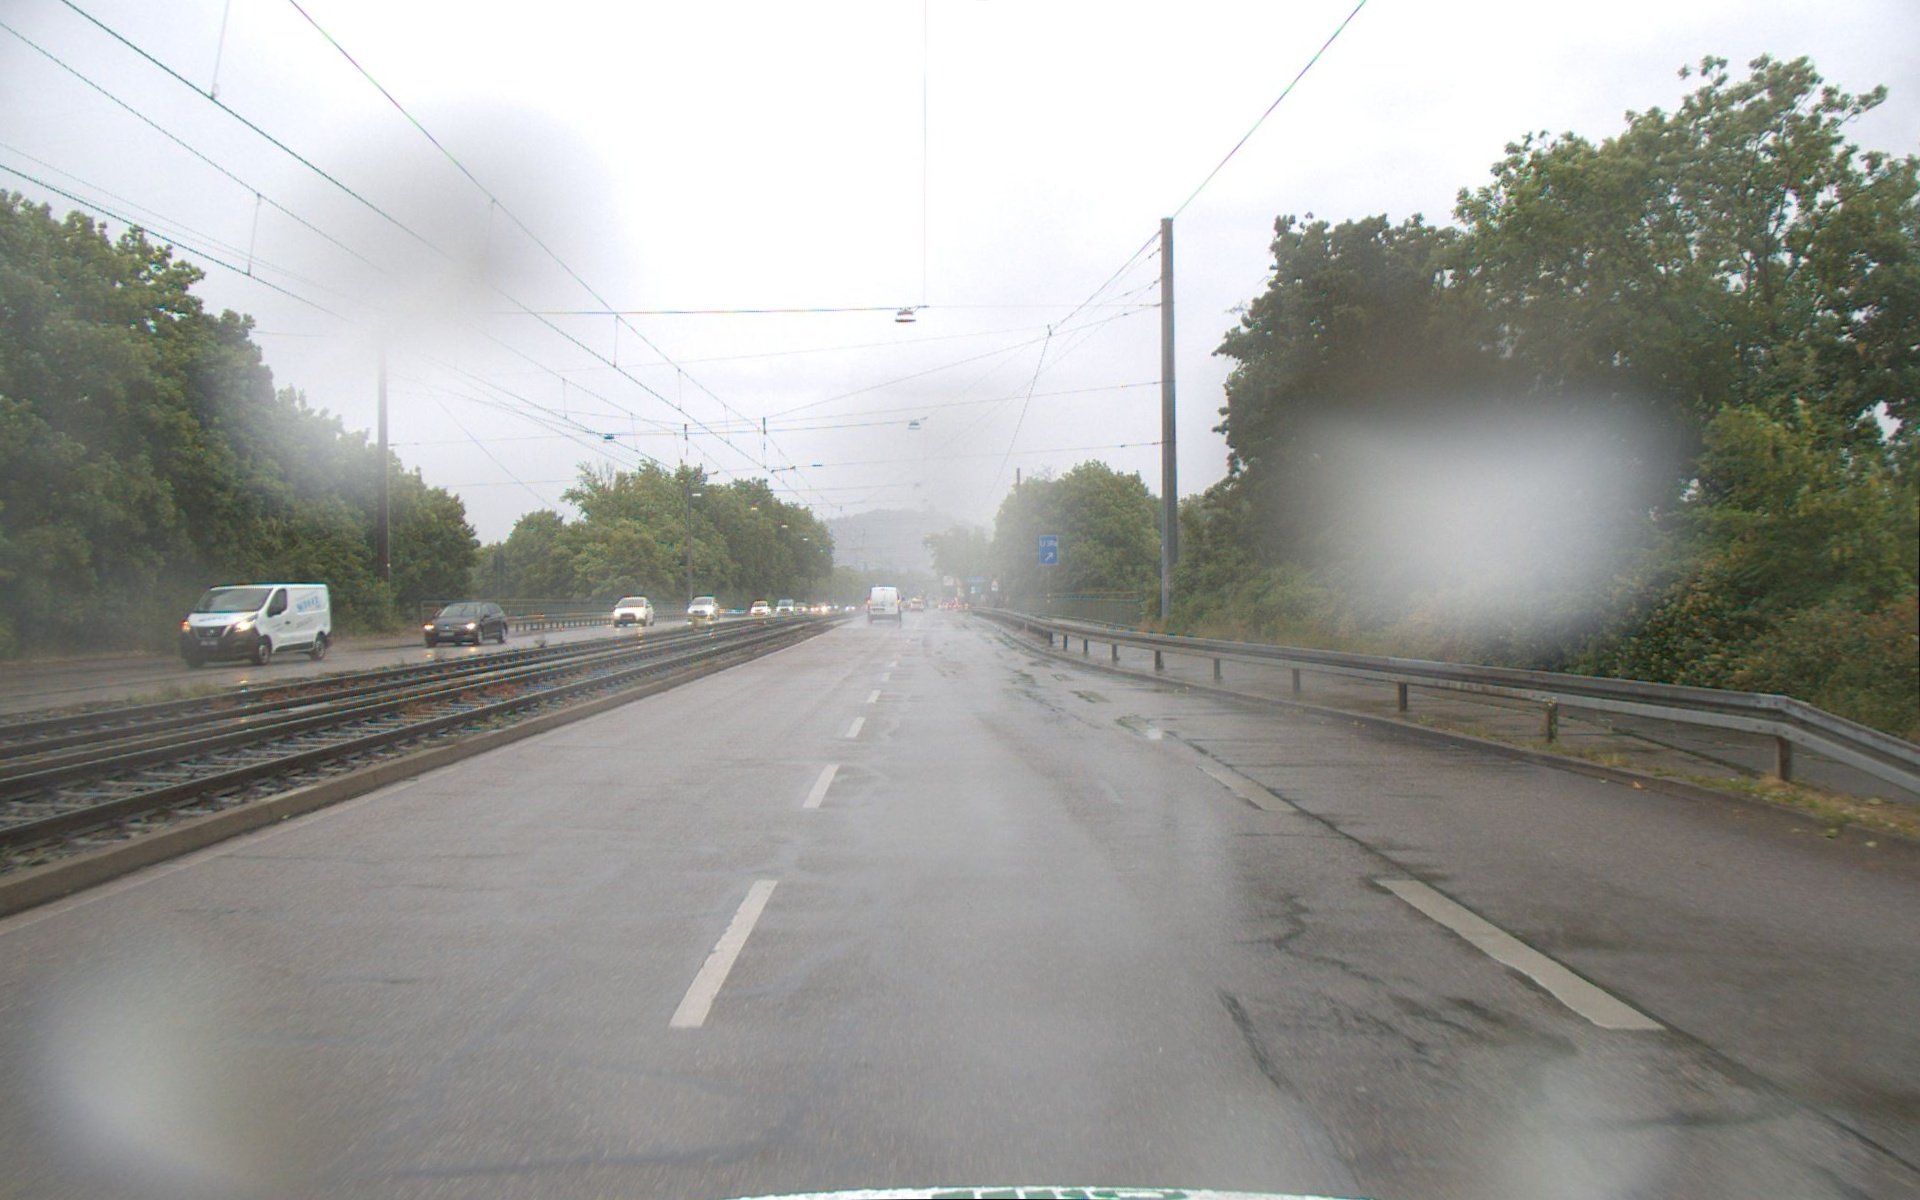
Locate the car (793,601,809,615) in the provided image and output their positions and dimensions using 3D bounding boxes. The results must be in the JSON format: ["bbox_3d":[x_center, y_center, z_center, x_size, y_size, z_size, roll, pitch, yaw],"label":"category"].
[{"bbox_3d":[-19.402,0.977,201.679,1.708,1.534,3.699,1,1,-1],"label":"car"}]

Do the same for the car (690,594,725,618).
[{"bbox_3d":[-17.236,0.392,112.949,1.761,1.478,4.194,1,1,0],"label":"car"}]

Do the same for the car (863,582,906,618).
[{"bbox_3d":[-3.801,-0.013,83.839,1.948,1.713,3.740,1,1,0],"label":"car"}]

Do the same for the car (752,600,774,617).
[{"bbox_3d":[-18.545,0.801,155.742,1.708,1.534,3.699,1,1,-1],"label":"car"}]

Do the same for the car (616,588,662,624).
[{"bbox_3d":[-16.853,0.303,86.913,1.718,1.741,3.999,1,1,-1],"label":"car"}]

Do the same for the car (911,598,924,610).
[{"bbox_3d":[-5.640,0.541,218.255,1.708,1.534,3.699,1,1,-1],"label":"car"}]

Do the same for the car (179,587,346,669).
[{"bbox_3d":[-17.253,0.641,41.207,1.998,1.806,4.986,1,1,1],"label":"car"}]

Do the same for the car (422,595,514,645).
[{"bbox_3d":[-16.986,0.669,57.289,1.654,1.545,4.613,1,1,2],"label":"car"}]
